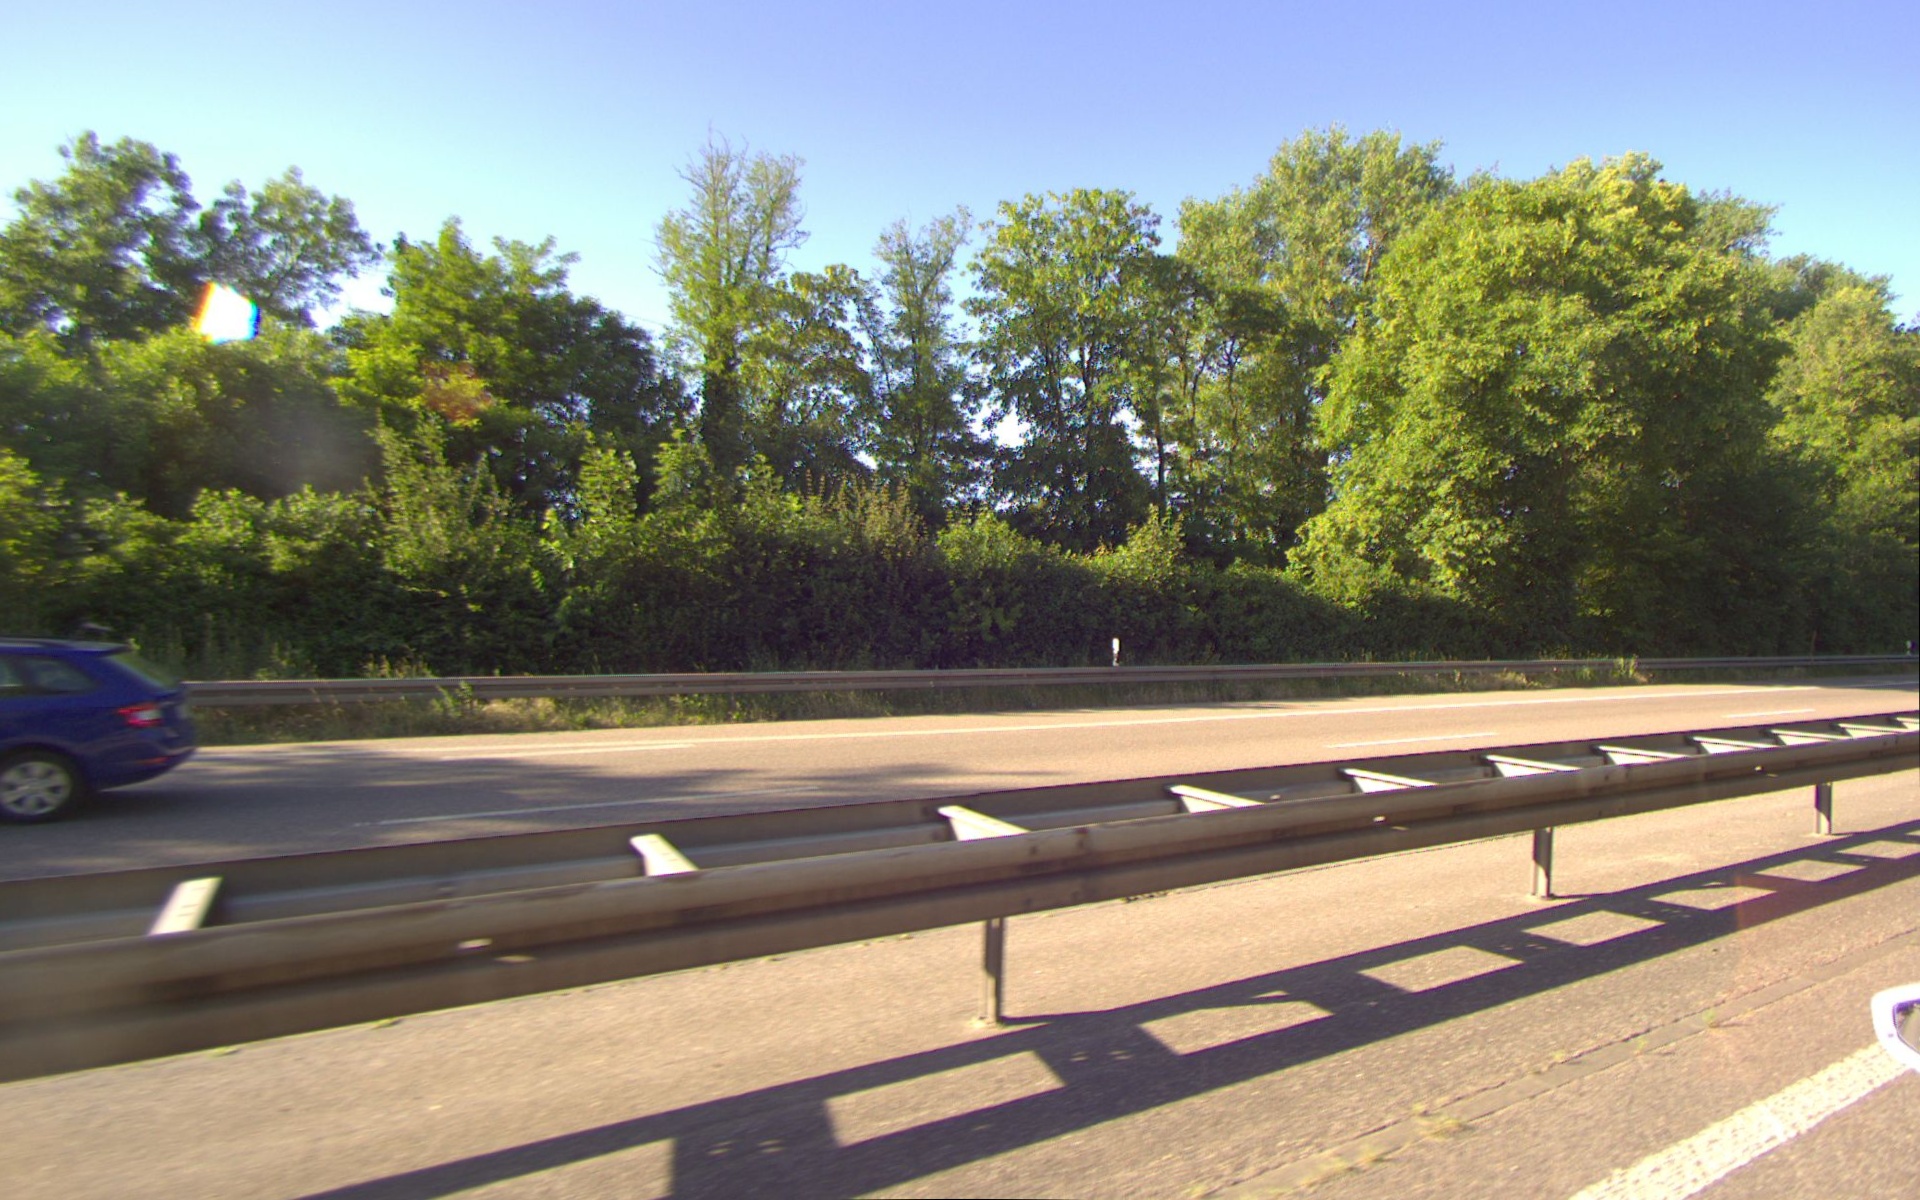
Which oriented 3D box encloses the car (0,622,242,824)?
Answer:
[{"bbox_3d":[-8.740,0.977,8.296,4.379,1.561,1.827,1,-1,-31],"label":"car"}]
